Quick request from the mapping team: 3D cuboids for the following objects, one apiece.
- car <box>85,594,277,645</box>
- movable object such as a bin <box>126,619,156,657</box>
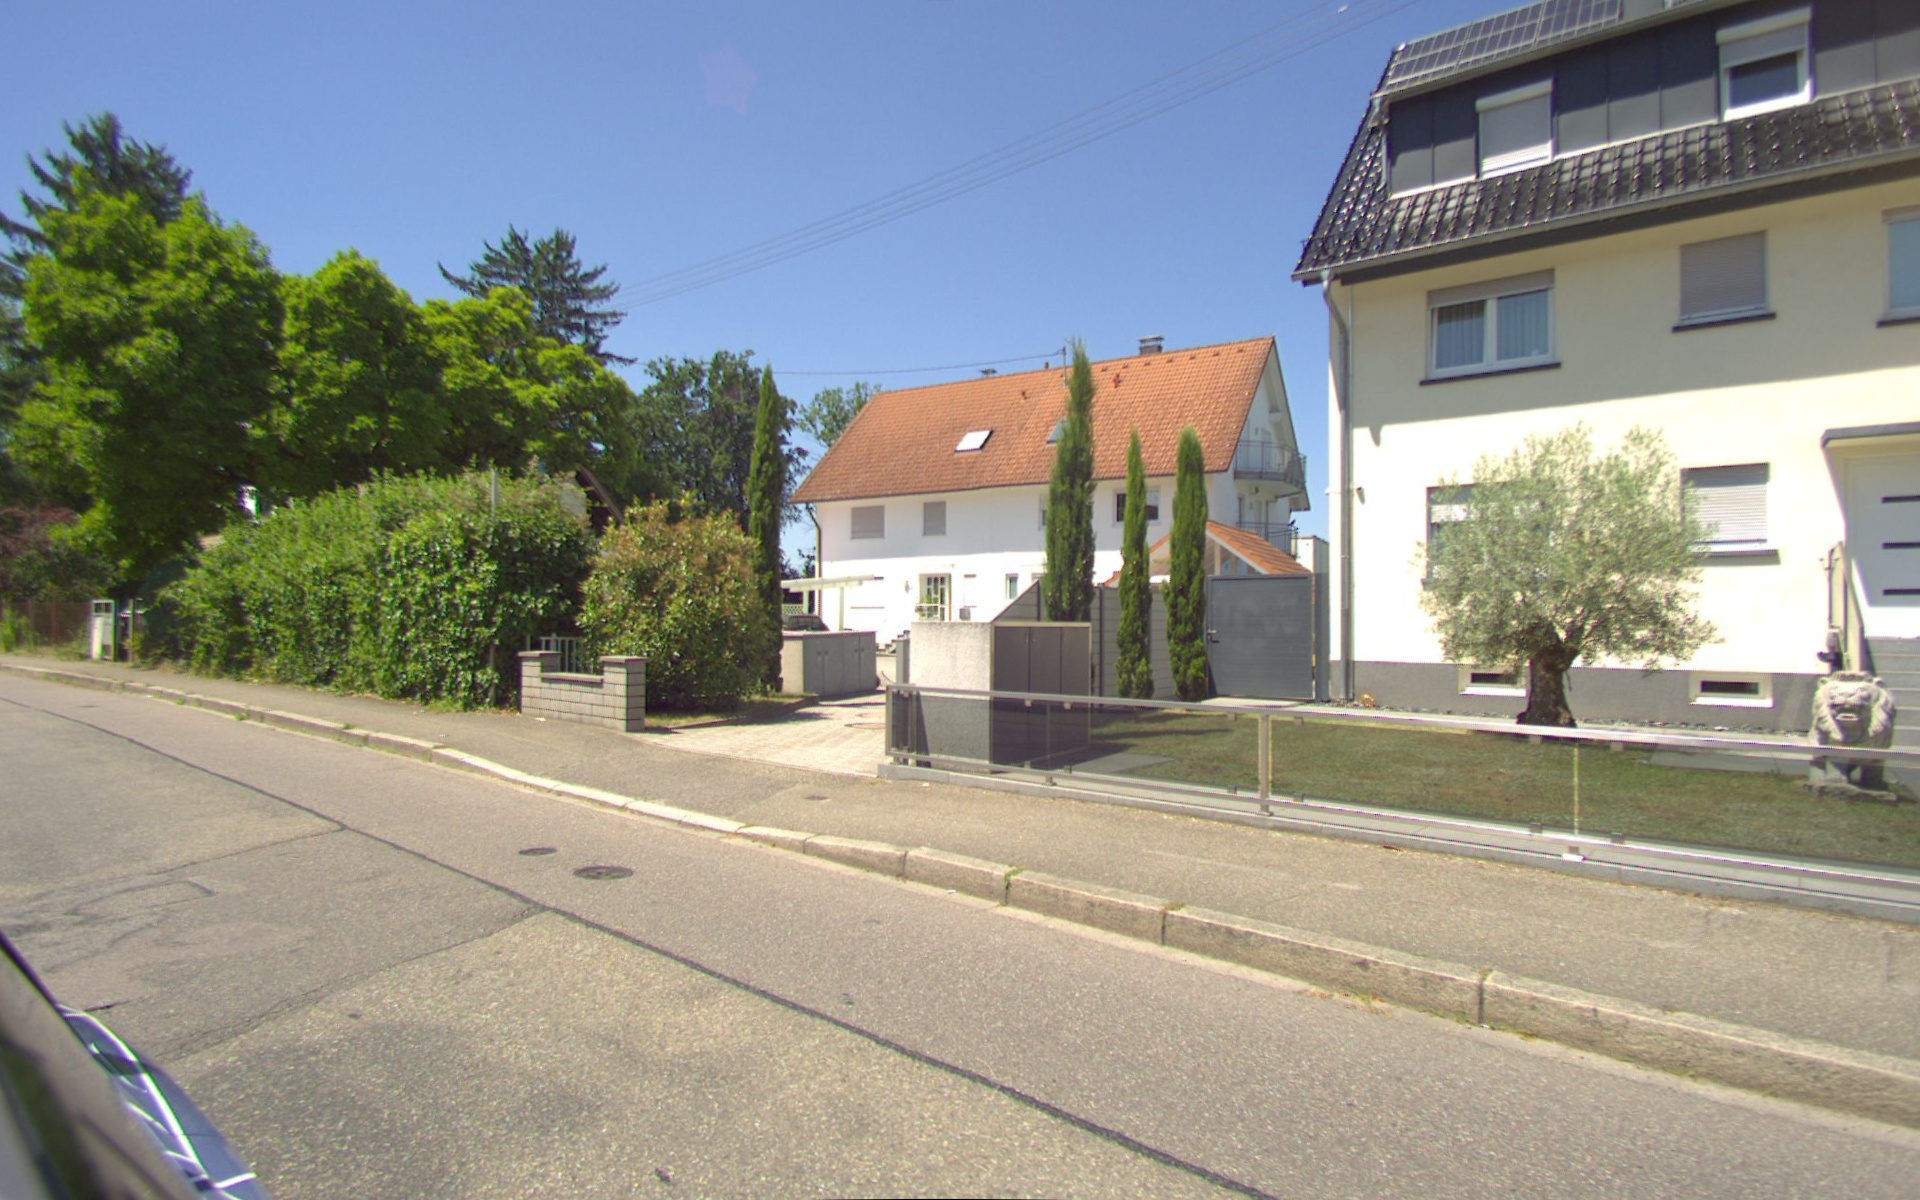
[{"bbox_3d":[-36.001,0.967,47.050,2.392,2.188,6.614,0,-3,30],"label":"car"},{"bbox_3d":[-19.965,0.921,24.684,0.458,0.916,0.463,0,0,35],"label":"movable object such as a bin"}]
